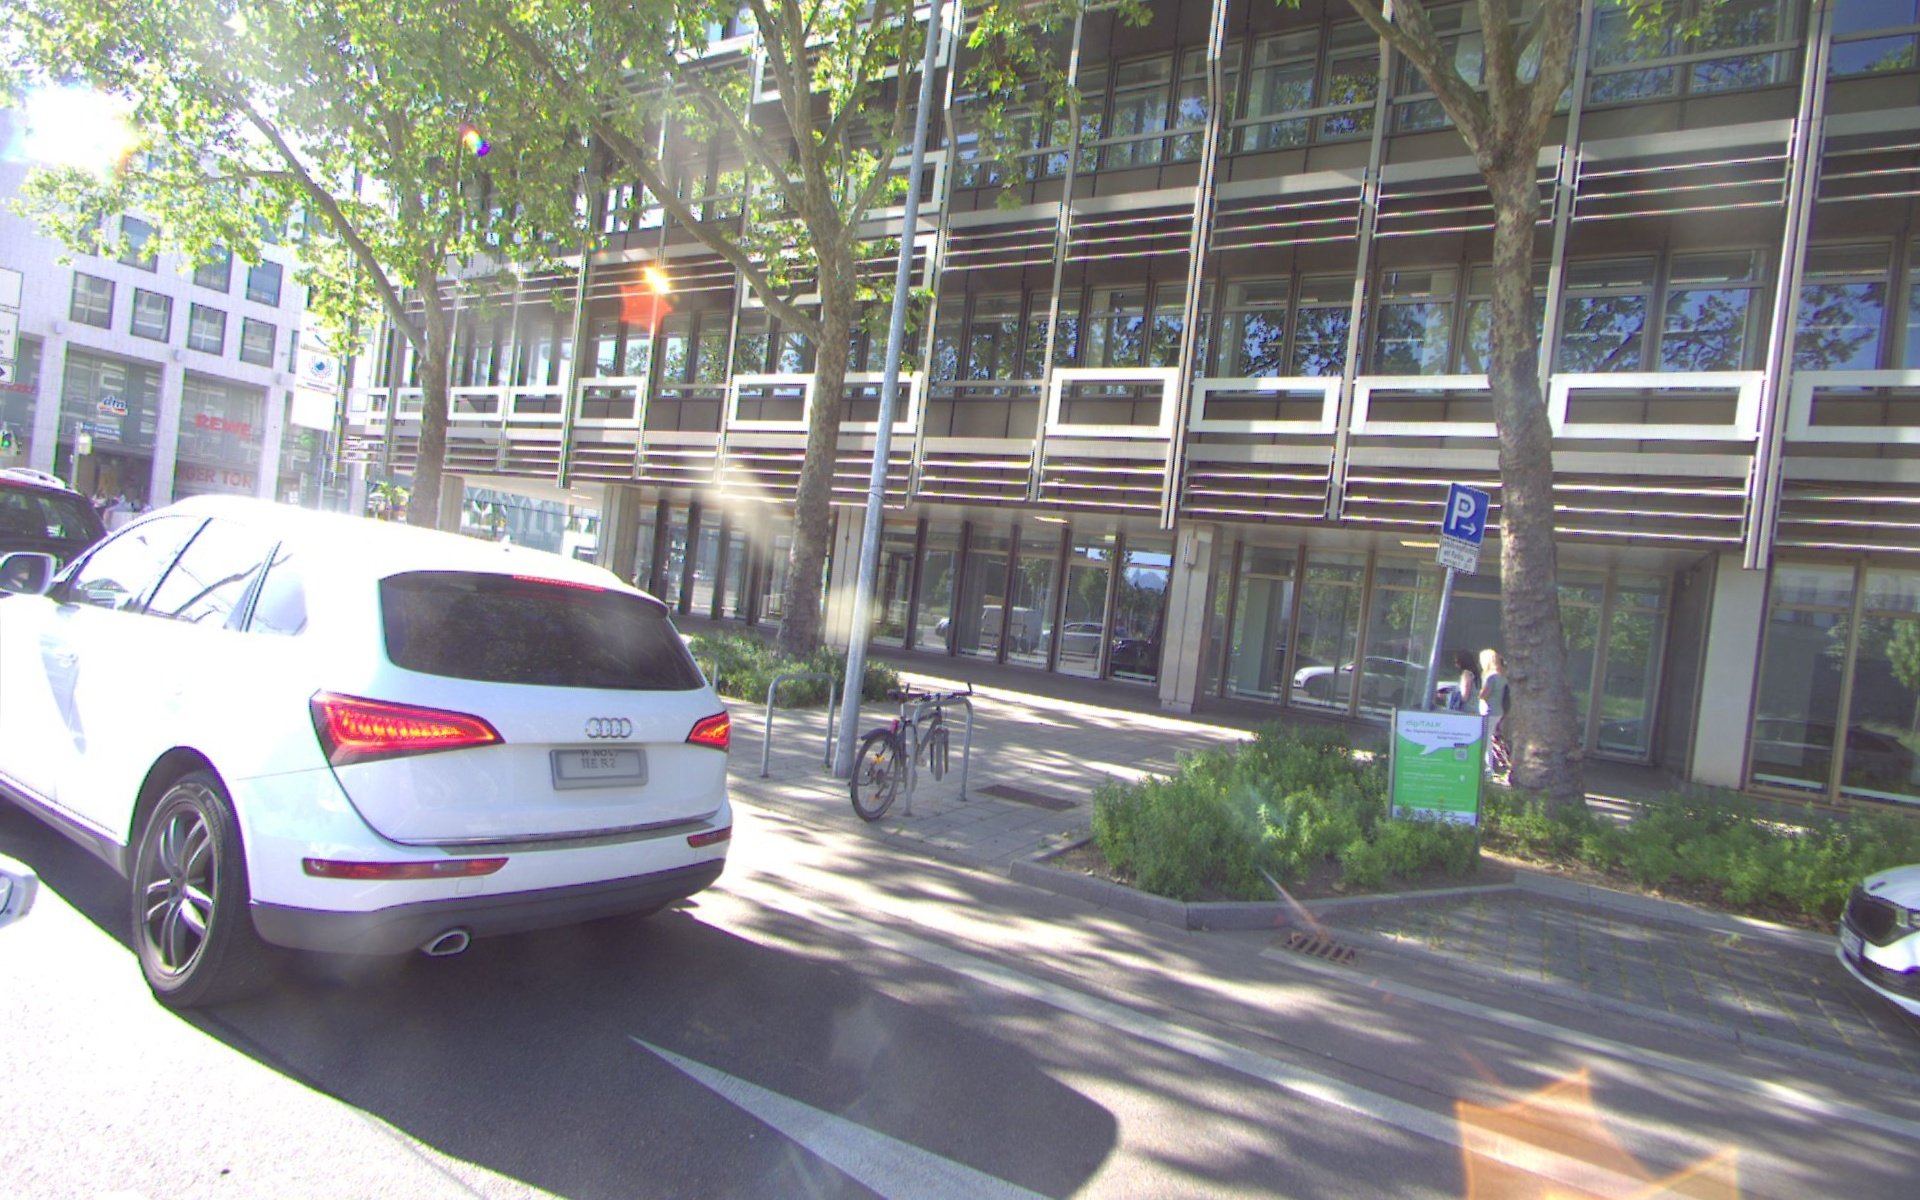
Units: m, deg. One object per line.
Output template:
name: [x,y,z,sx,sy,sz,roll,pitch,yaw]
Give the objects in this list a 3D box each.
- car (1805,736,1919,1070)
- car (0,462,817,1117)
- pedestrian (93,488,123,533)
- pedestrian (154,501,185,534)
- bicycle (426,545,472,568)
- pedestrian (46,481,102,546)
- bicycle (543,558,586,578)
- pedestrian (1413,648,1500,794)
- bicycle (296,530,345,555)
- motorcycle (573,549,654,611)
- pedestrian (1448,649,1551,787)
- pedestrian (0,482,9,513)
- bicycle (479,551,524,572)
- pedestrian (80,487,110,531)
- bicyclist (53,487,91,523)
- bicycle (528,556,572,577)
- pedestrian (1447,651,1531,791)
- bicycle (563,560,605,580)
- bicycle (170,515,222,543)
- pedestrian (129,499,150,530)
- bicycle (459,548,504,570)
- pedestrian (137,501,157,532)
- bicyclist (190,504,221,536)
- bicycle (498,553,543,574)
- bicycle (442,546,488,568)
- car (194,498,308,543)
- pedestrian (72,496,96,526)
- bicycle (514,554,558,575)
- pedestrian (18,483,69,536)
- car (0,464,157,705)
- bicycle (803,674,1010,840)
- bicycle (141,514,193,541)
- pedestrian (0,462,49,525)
car: [7.012,1.820,4.572,4.483,1.509,1.749,7,2,31]
car: [-2.984,0.388,4.562,4.339,1.633,1.822,7,0,32]
pedestrian: [-33.097,-3.459,39.090,0.517,1.634,0.661,7,3,22]
pedestrian: [-44.833,-4.658,57.067,0.846,1.705,0.978,7,1,29]
bicycle: [-33.345,-2.853,65.658,3.441,1.107,1.067,7,0,34]
pedestrian: [-30.743,-2.983,34.902,1.060,2.038,0.949,7,1,24]
bicycle: [-28.706,-2.331,73.024,3.441,1.107,1.067,7,0,34]
pedestrian: [6.022,1.435,12.197,0.716,1.622,0.666,7,3,32]
bicycle: [-37.728,-3.402,59.347,3.441,1.107,1.067,7,0,34]
motorcycle: [-9.479,-0.551,27.515,2.087,1.459,0.824,7,1,32]
pedestrian: [7.100,1.516,13.242,0.992,1.622,0.666,7,3,32]
pedestrian: [-52.179,-5.614,54.498,0.547,1.628,0.748,8,2,30]
bicycle: [-31.451,-2.649,68.933,3.441,1.107,1.067,7,0,34]
pedestrian: [-33.724,-3.547,39.216,0.517,1.634,0.661,7,3,22]
bicyclist: [-41.707,-4.441,47.246,1.055,1.494,1.022,7,1,35]
bicycle: [-29.395,-2.411,72.083,3.441,1.107,1.067,7,0,34]
pedestrian: [6.667,1.495,12.672,0.716,1.622,0.666,7,3,32]
bicycle: [-27.799,-2.220,74.355,3.441,1.107,1.067,7,0,34]
bicycle: [-41.087,-3.827,54.113,3.440,1.107,1.067,7,0,33]
pedestrian: [-50.706,-5.258,62.166,0.639,1.785,0.556,7,2,-5]
bicycle: [-32.214,-2.753,67.716,3.441,1.107,1.067,7,0,34]
pedestrian: [-50.800,-5.207,62.857,0.639,1.785,0.556,7,2,-5]
bicyclist: [-38.974,-4.132,51.976,1.024,1.451,0.933,7,1,35]
bicycle: [-30.594,-2.529,69.996,3.441,1.107,1.067,7,0,34]
bicycle: [-32.838,-2.868,66.742,3.441,1.107,1.067,7,0,34]
car: [-35.199,-3.917,50.066,1.831,1.632,4.189,5,-1,33]
pedestrian: [-52.214,-5.291,59.964,0.737,1.628,0.556,7,1,-6]
bicycle: [-30.001,-2.530,71.081,3.441,1.107,1.067,7,0,34]
pedestrian: [-34.793,-3.440,38.196,1.497,1.825,0.967,7,3,31]
car: [-8.685,-0.332,8.301,4.339,1.720,1.787,7,0,32]
bicycle: [-0.350,1.141,7.818,0.699,0.973,1.846,7,2,26]
bicycle: [-41.861,-3.826,53.074,3.440,1.107,1.067,7,0,33]
pedestrian: [-33.923,-3.834,36.359,1.059,2.038,0.949,7,0,20]
